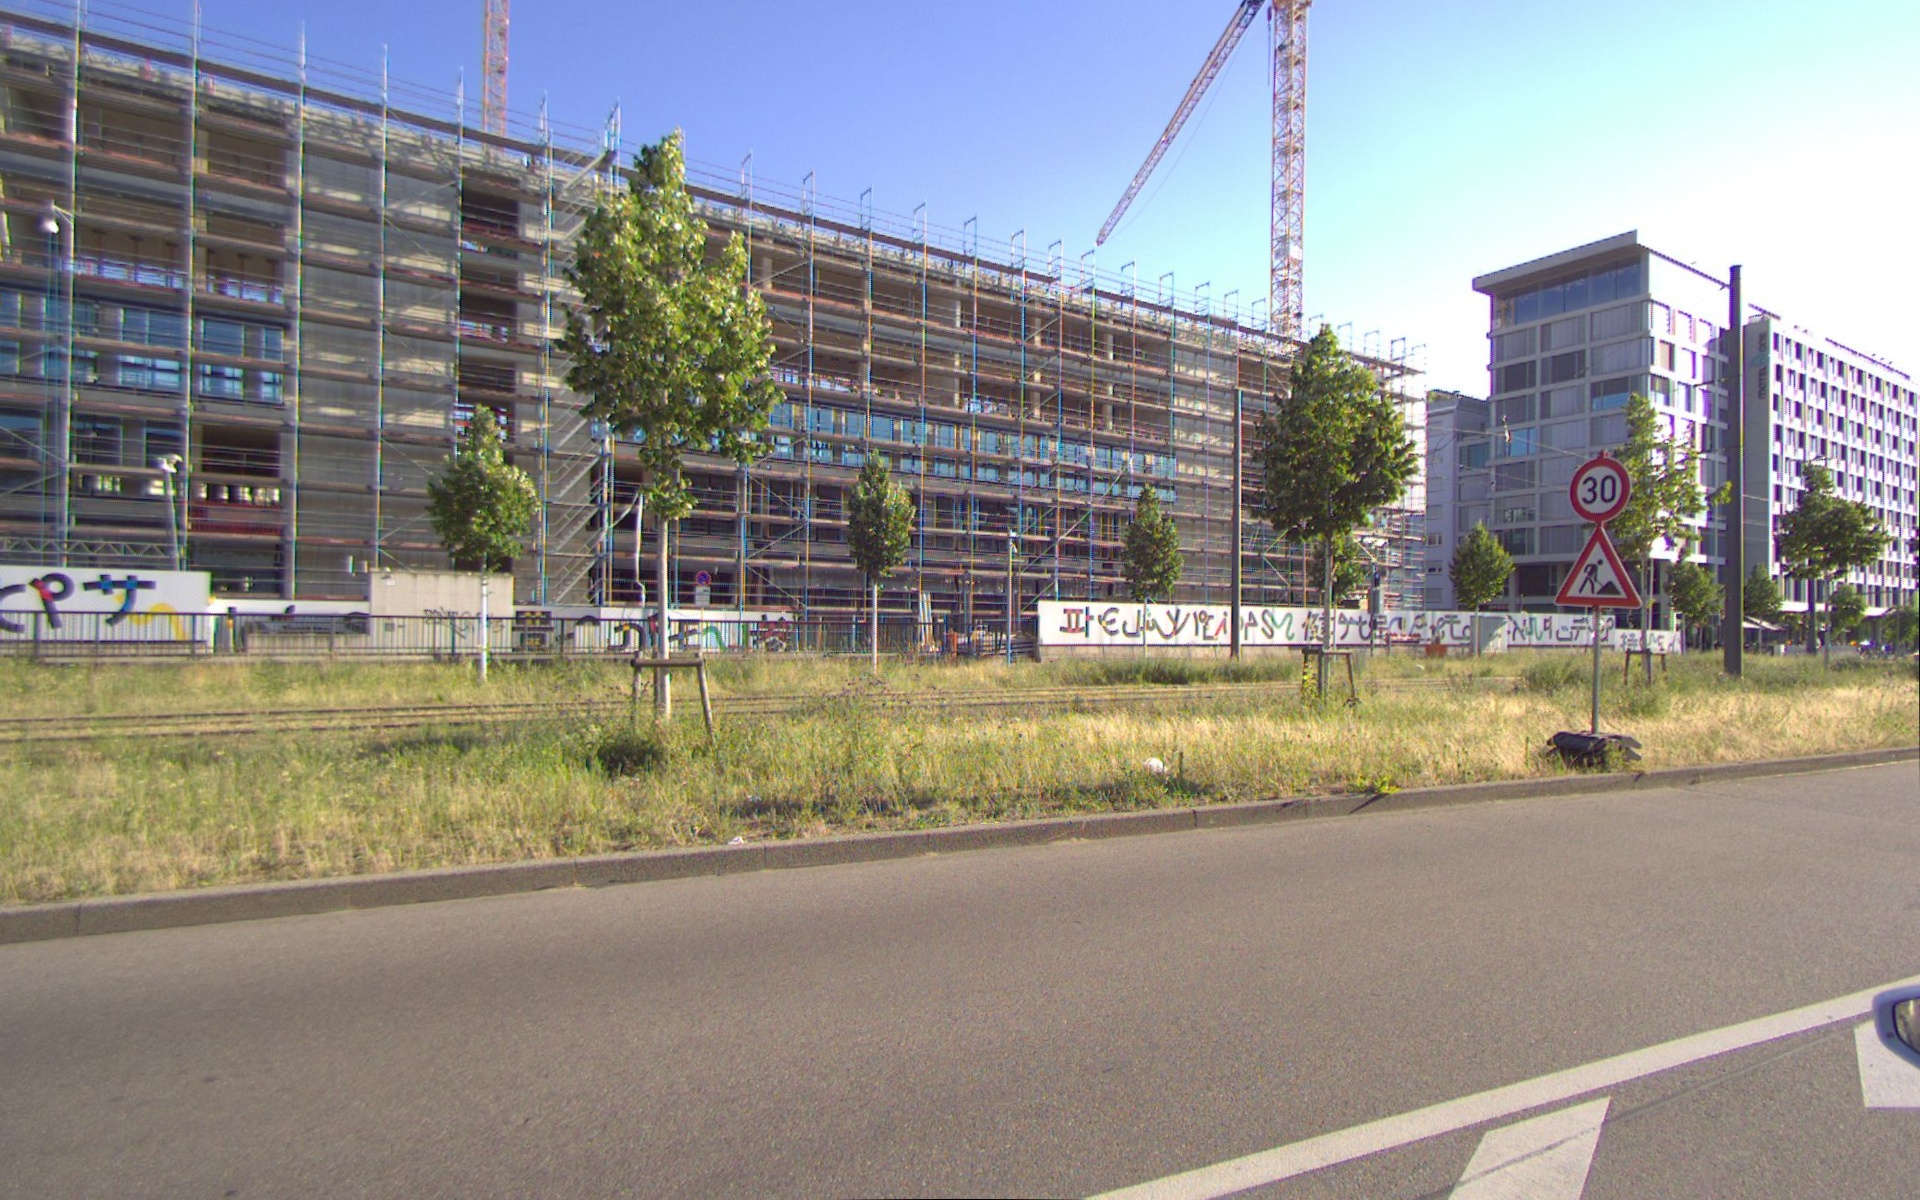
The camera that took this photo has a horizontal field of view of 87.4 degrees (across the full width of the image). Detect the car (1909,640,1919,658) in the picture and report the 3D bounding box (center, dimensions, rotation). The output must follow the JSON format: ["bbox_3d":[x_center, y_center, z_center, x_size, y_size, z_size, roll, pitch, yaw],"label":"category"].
[{"bbox_3d":[80.836,4.083,83.694,3.543,1.461,1.699,2,0,-32],"label":"car"}]

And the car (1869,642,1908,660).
[{"bbox_3d":[84.037,4.606,90.883,3.543,1.461,1.699,2,0,-32],"label":"car"}]

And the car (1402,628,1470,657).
[{"bbox_3d":[25.676,2.268,54.160,3.543,1.461,1.699,2,0,-32],"label":"car"}]
